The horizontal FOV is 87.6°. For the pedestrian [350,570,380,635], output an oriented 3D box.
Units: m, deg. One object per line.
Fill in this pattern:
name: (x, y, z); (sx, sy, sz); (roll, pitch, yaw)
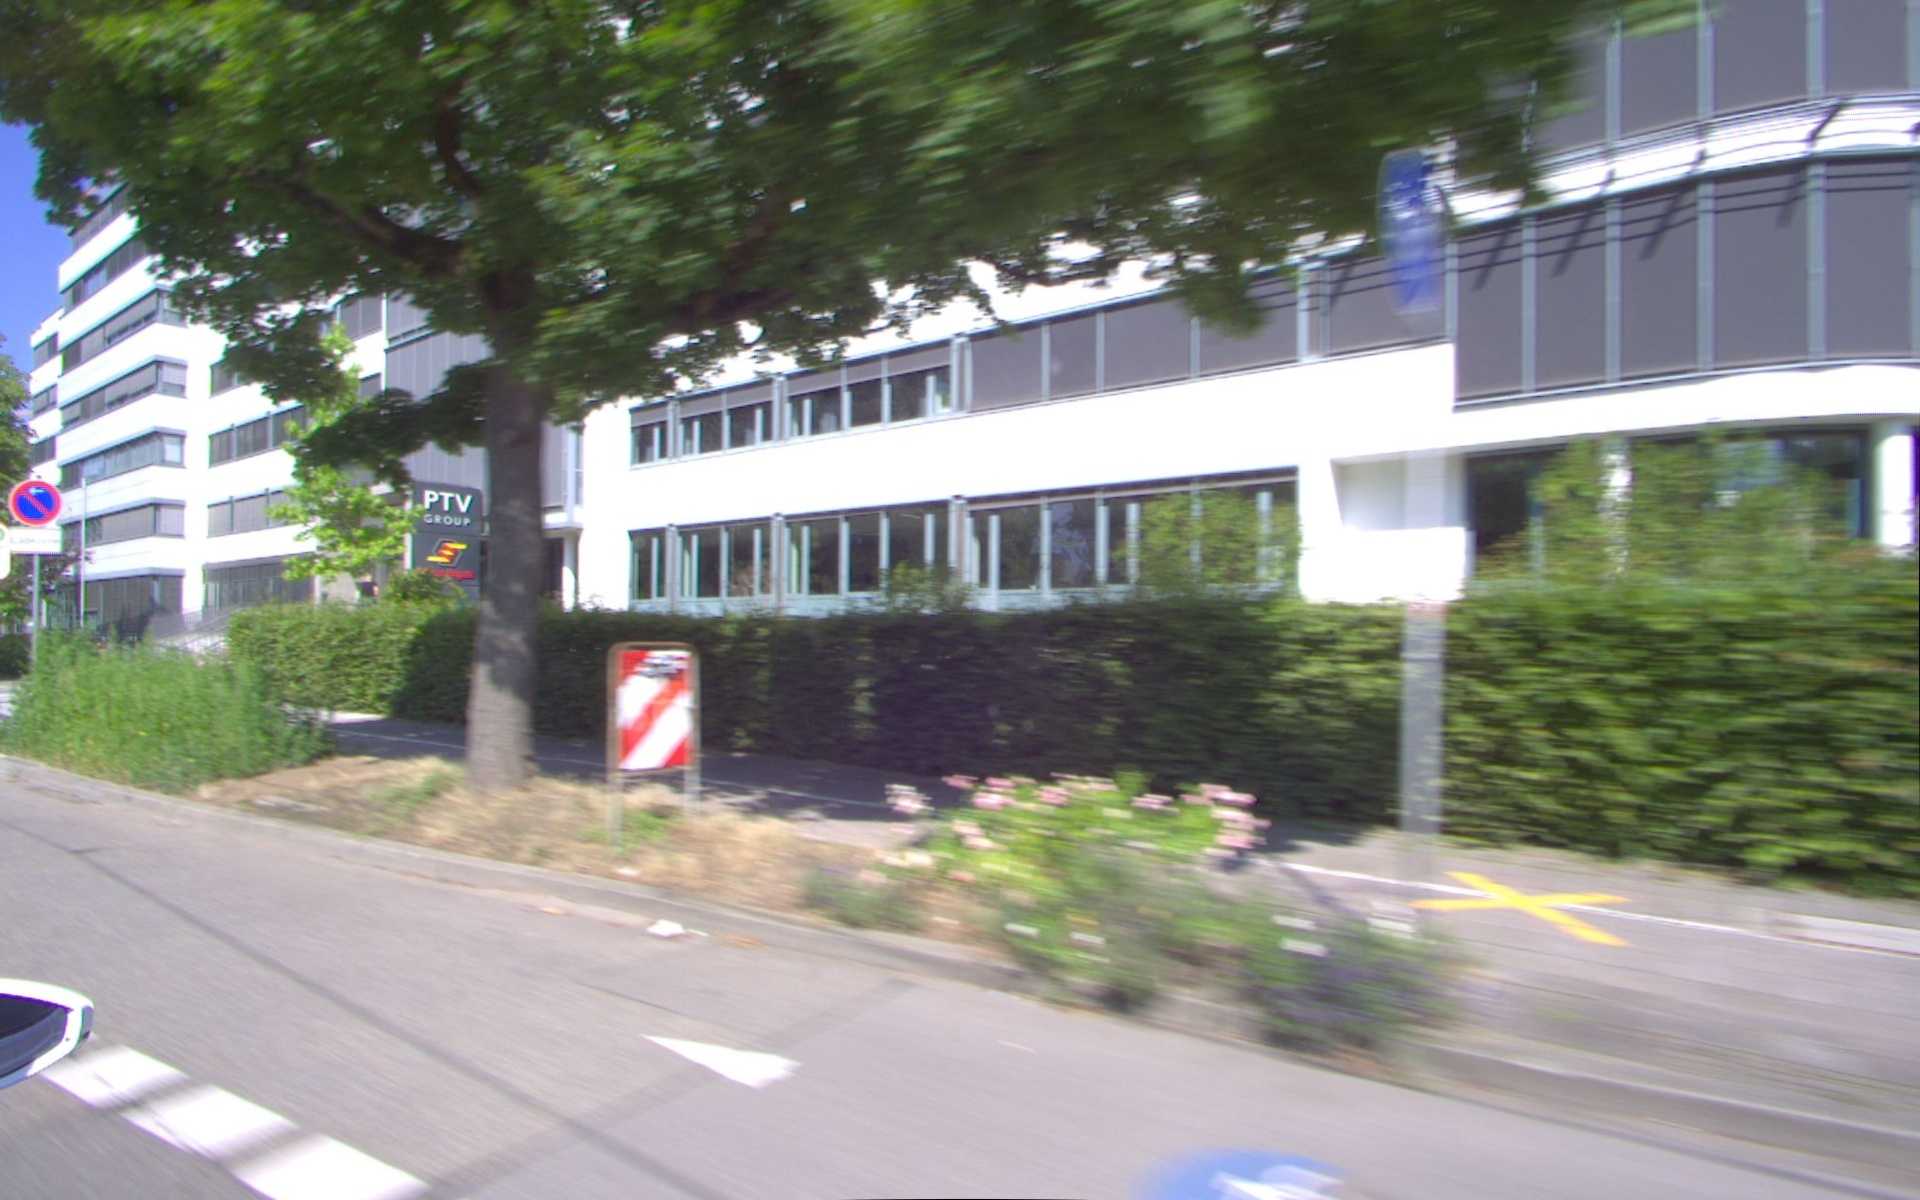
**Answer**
pedestrian: (-16.172, 0.075, 27.235); (0.540, 1.750, 0.497); (-1, -2, 36)
